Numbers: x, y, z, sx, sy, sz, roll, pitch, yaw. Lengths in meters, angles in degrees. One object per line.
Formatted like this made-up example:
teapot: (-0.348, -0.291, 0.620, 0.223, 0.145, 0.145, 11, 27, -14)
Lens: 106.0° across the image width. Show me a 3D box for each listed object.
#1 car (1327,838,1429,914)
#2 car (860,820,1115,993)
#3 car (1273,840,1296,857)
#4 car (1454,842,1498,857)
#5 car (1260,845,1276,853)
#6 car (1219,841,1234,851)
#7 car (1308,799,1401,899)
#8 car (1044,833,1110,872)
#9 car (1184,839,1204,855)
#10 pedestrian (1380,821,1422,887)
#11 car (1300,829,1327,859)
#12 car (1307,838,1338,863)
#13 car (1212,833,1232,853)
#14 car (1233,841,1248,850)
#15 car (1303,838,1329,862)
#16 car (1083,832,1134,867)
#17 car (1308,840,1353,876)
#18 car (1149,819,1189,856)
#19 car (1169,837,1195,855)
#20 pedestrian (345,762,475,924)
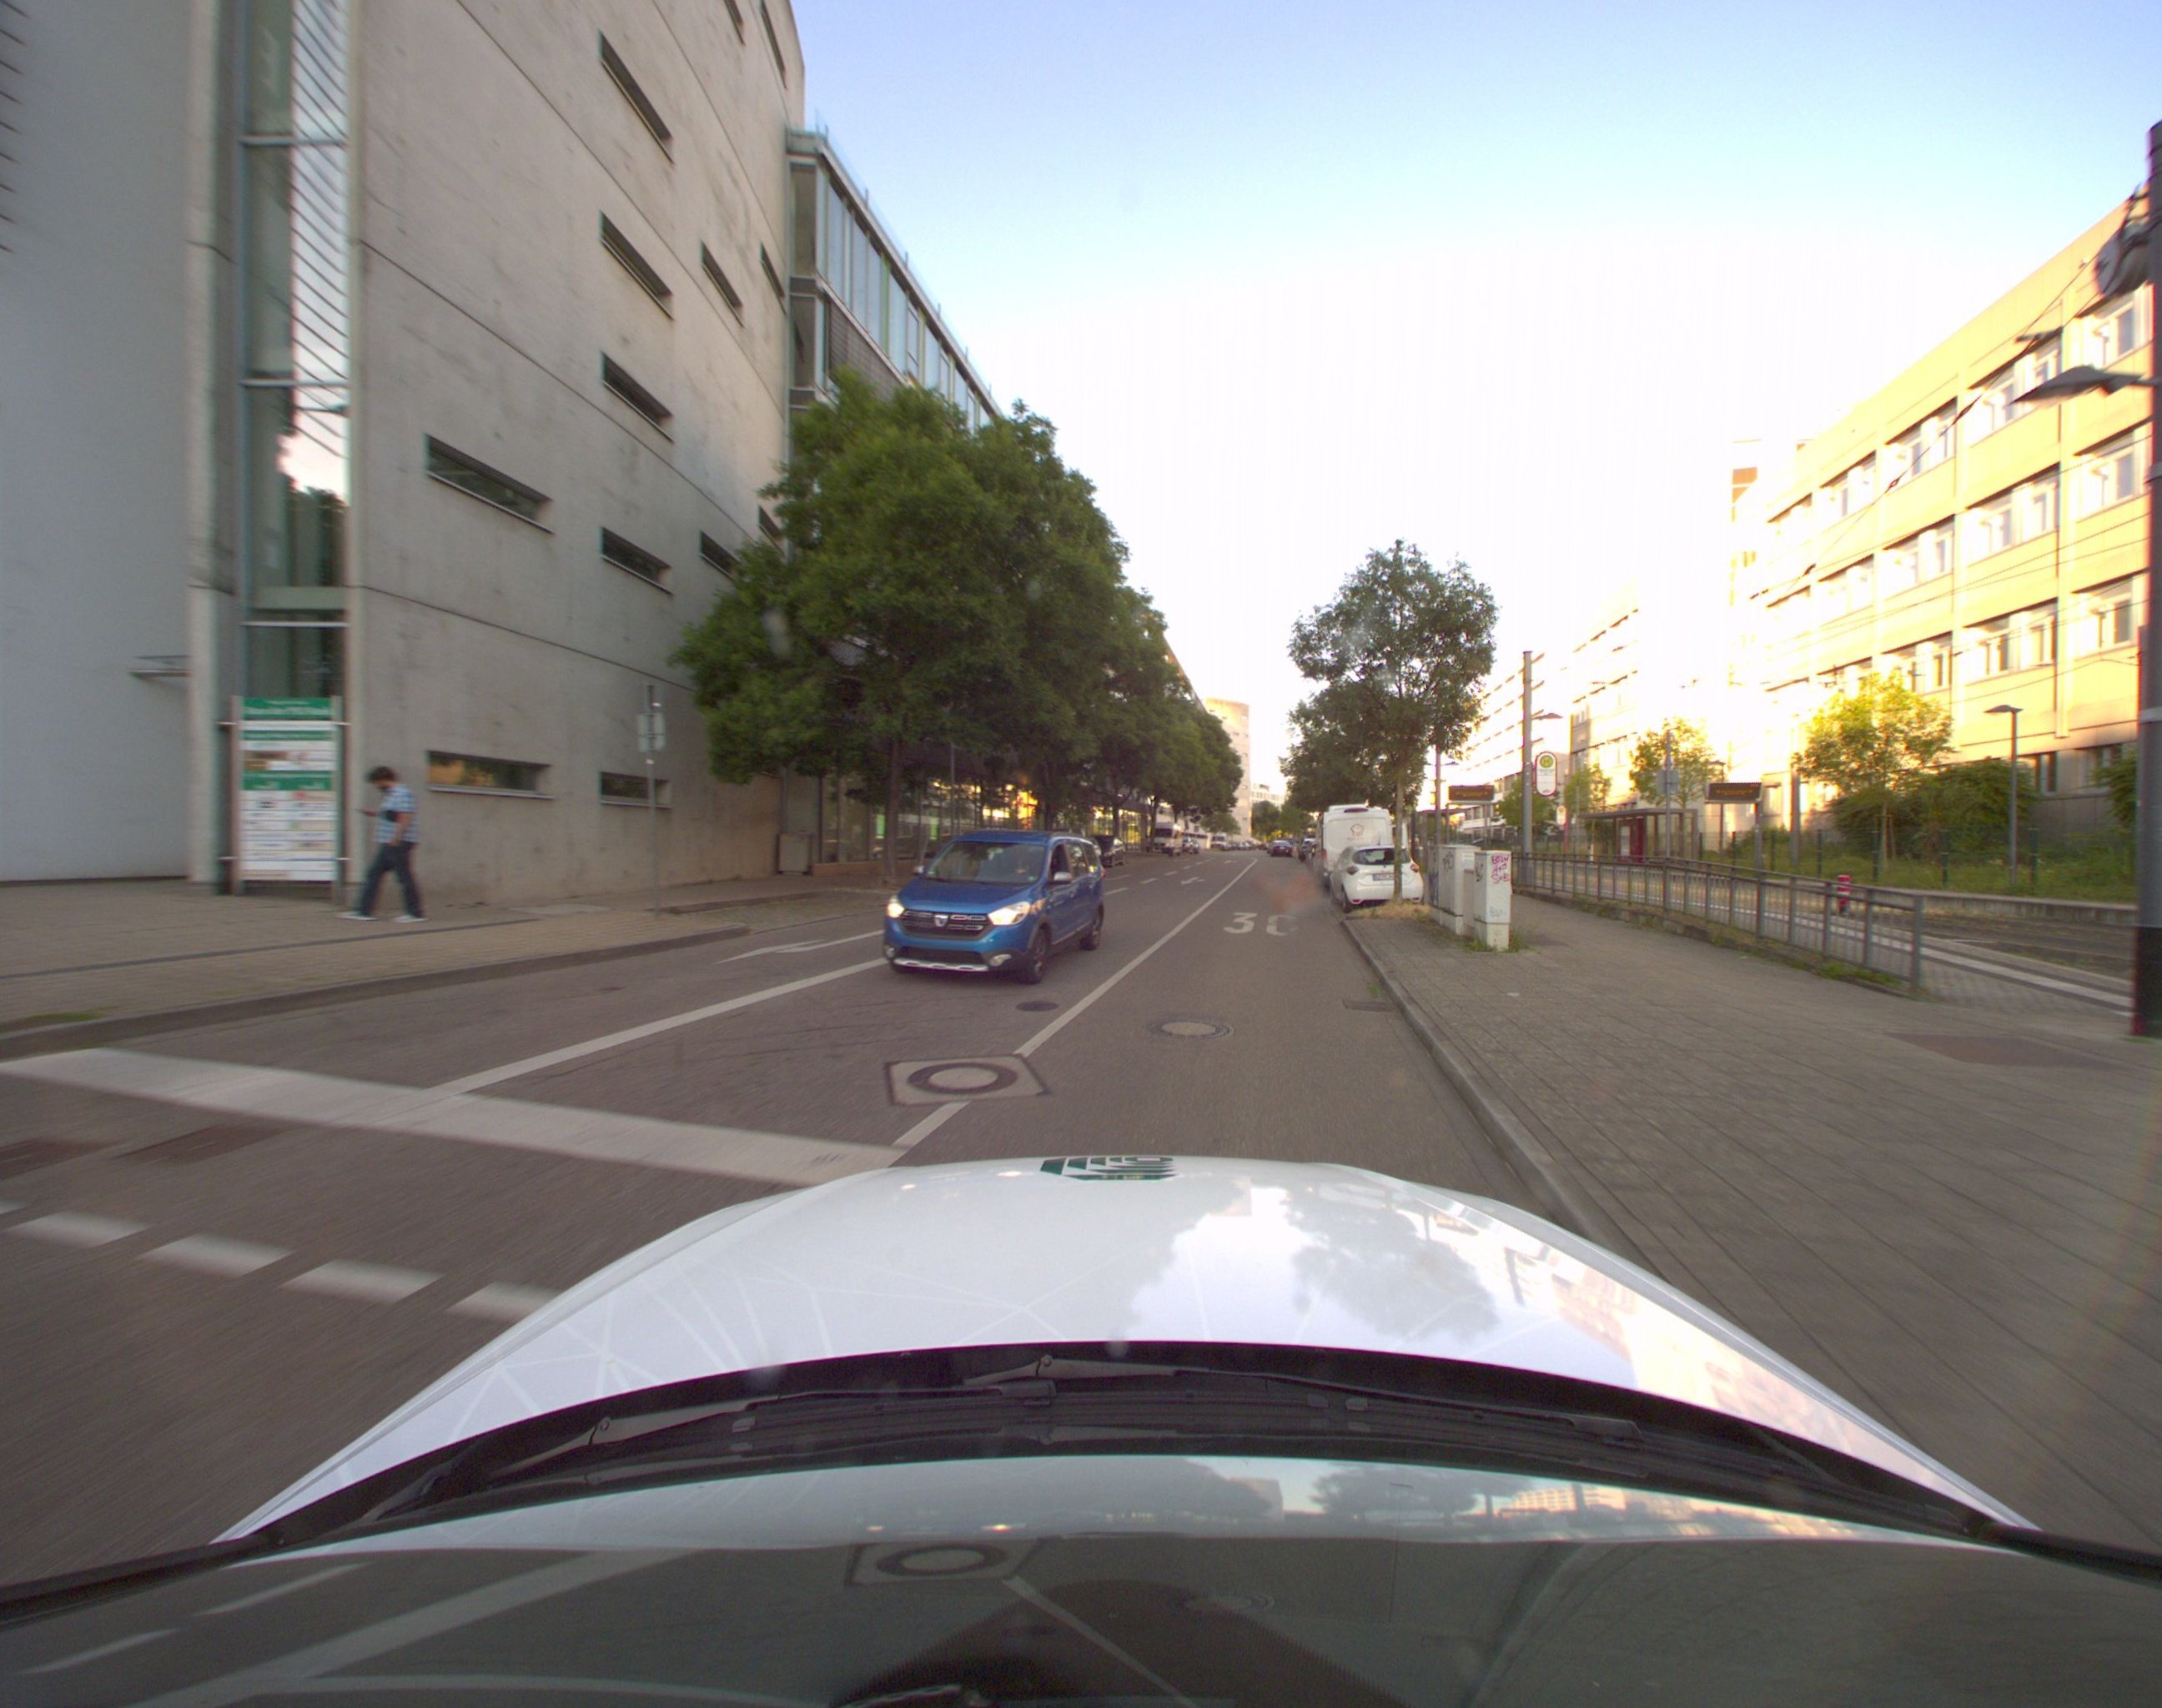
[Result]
car: (6.988, 0.462, 19.529, 1.736, 1.583, 4.027, -3, 0, 12)
car: (-0.891, 0.480, 10.301, 1.735, 1.678, 4.290, 2, 1, 14)
car: (18.336, -0.550, 73.498, 1.776, 1.452, 4.530, 1, 1, 11)
car: (42.437, -0.502, 87.616, 3.958, 1.487, 1.682, -2, 0, 14)
car: (37.165, -0.950, 161.719, 1.926, 1.382, 4.426, 3, 2, 30)
car: (21.431, -1.171, 119.910, 1.743, 1.439, 3.918, 3, 2, 15)
car: (8.200, -0.157, 24.886, 2.037, 2.657, 5.453, -3, 0, 13)
car: (-0.102, -0.095, 35.313, 1.691, 1.461, 4.644, 4, 2, 14)
car: (10.881, -0.657, 78.337, 1.704, 1.452, 4.412, 1, 1, 10)
pedestrian: (10.062, -0.015, 25.600, 0.982, 2.013, 0.800, 0, 1, -31)
car: (17.969, -0.786, 63.144, 1.791, 2.176, 4.753, -1, 0, 13)
car: (15.399, -0.213, 52.051, 1.695, 1.493, 4.146, -1, 0, 13)
car: (19.667, -1.533, 113.607, 1.944, 2.616, 6.921, 3, 2, 15)
car: (27.915, -1.482, 142.386, 1.708, 1.457, 4.293, 3, 2, 20)
car: (16.445, -0.294, 57.152, 1.695, 1.580, 4.497, -1, 0, 15)
car: (1.428, -0.251, 40.749, 1.579, 1.568, 4.488, 4, 2, 14)
car: (11.493, 0.147, 37.726, 1.783, 1.496, 4.800, -3, 0, 15)
car: (6.816, -1.226, 62.279, 2.085, 2.663, 6.978, 1, 1, 14)
car: (9.092, -0.745, 73.061, 1.831, 1.571, 4.284, 1, 1, 14)
pedestrian: (-8.405, -0.140, 10.235, 0.693, 1.882, 0.882, 7, 2, 14)
